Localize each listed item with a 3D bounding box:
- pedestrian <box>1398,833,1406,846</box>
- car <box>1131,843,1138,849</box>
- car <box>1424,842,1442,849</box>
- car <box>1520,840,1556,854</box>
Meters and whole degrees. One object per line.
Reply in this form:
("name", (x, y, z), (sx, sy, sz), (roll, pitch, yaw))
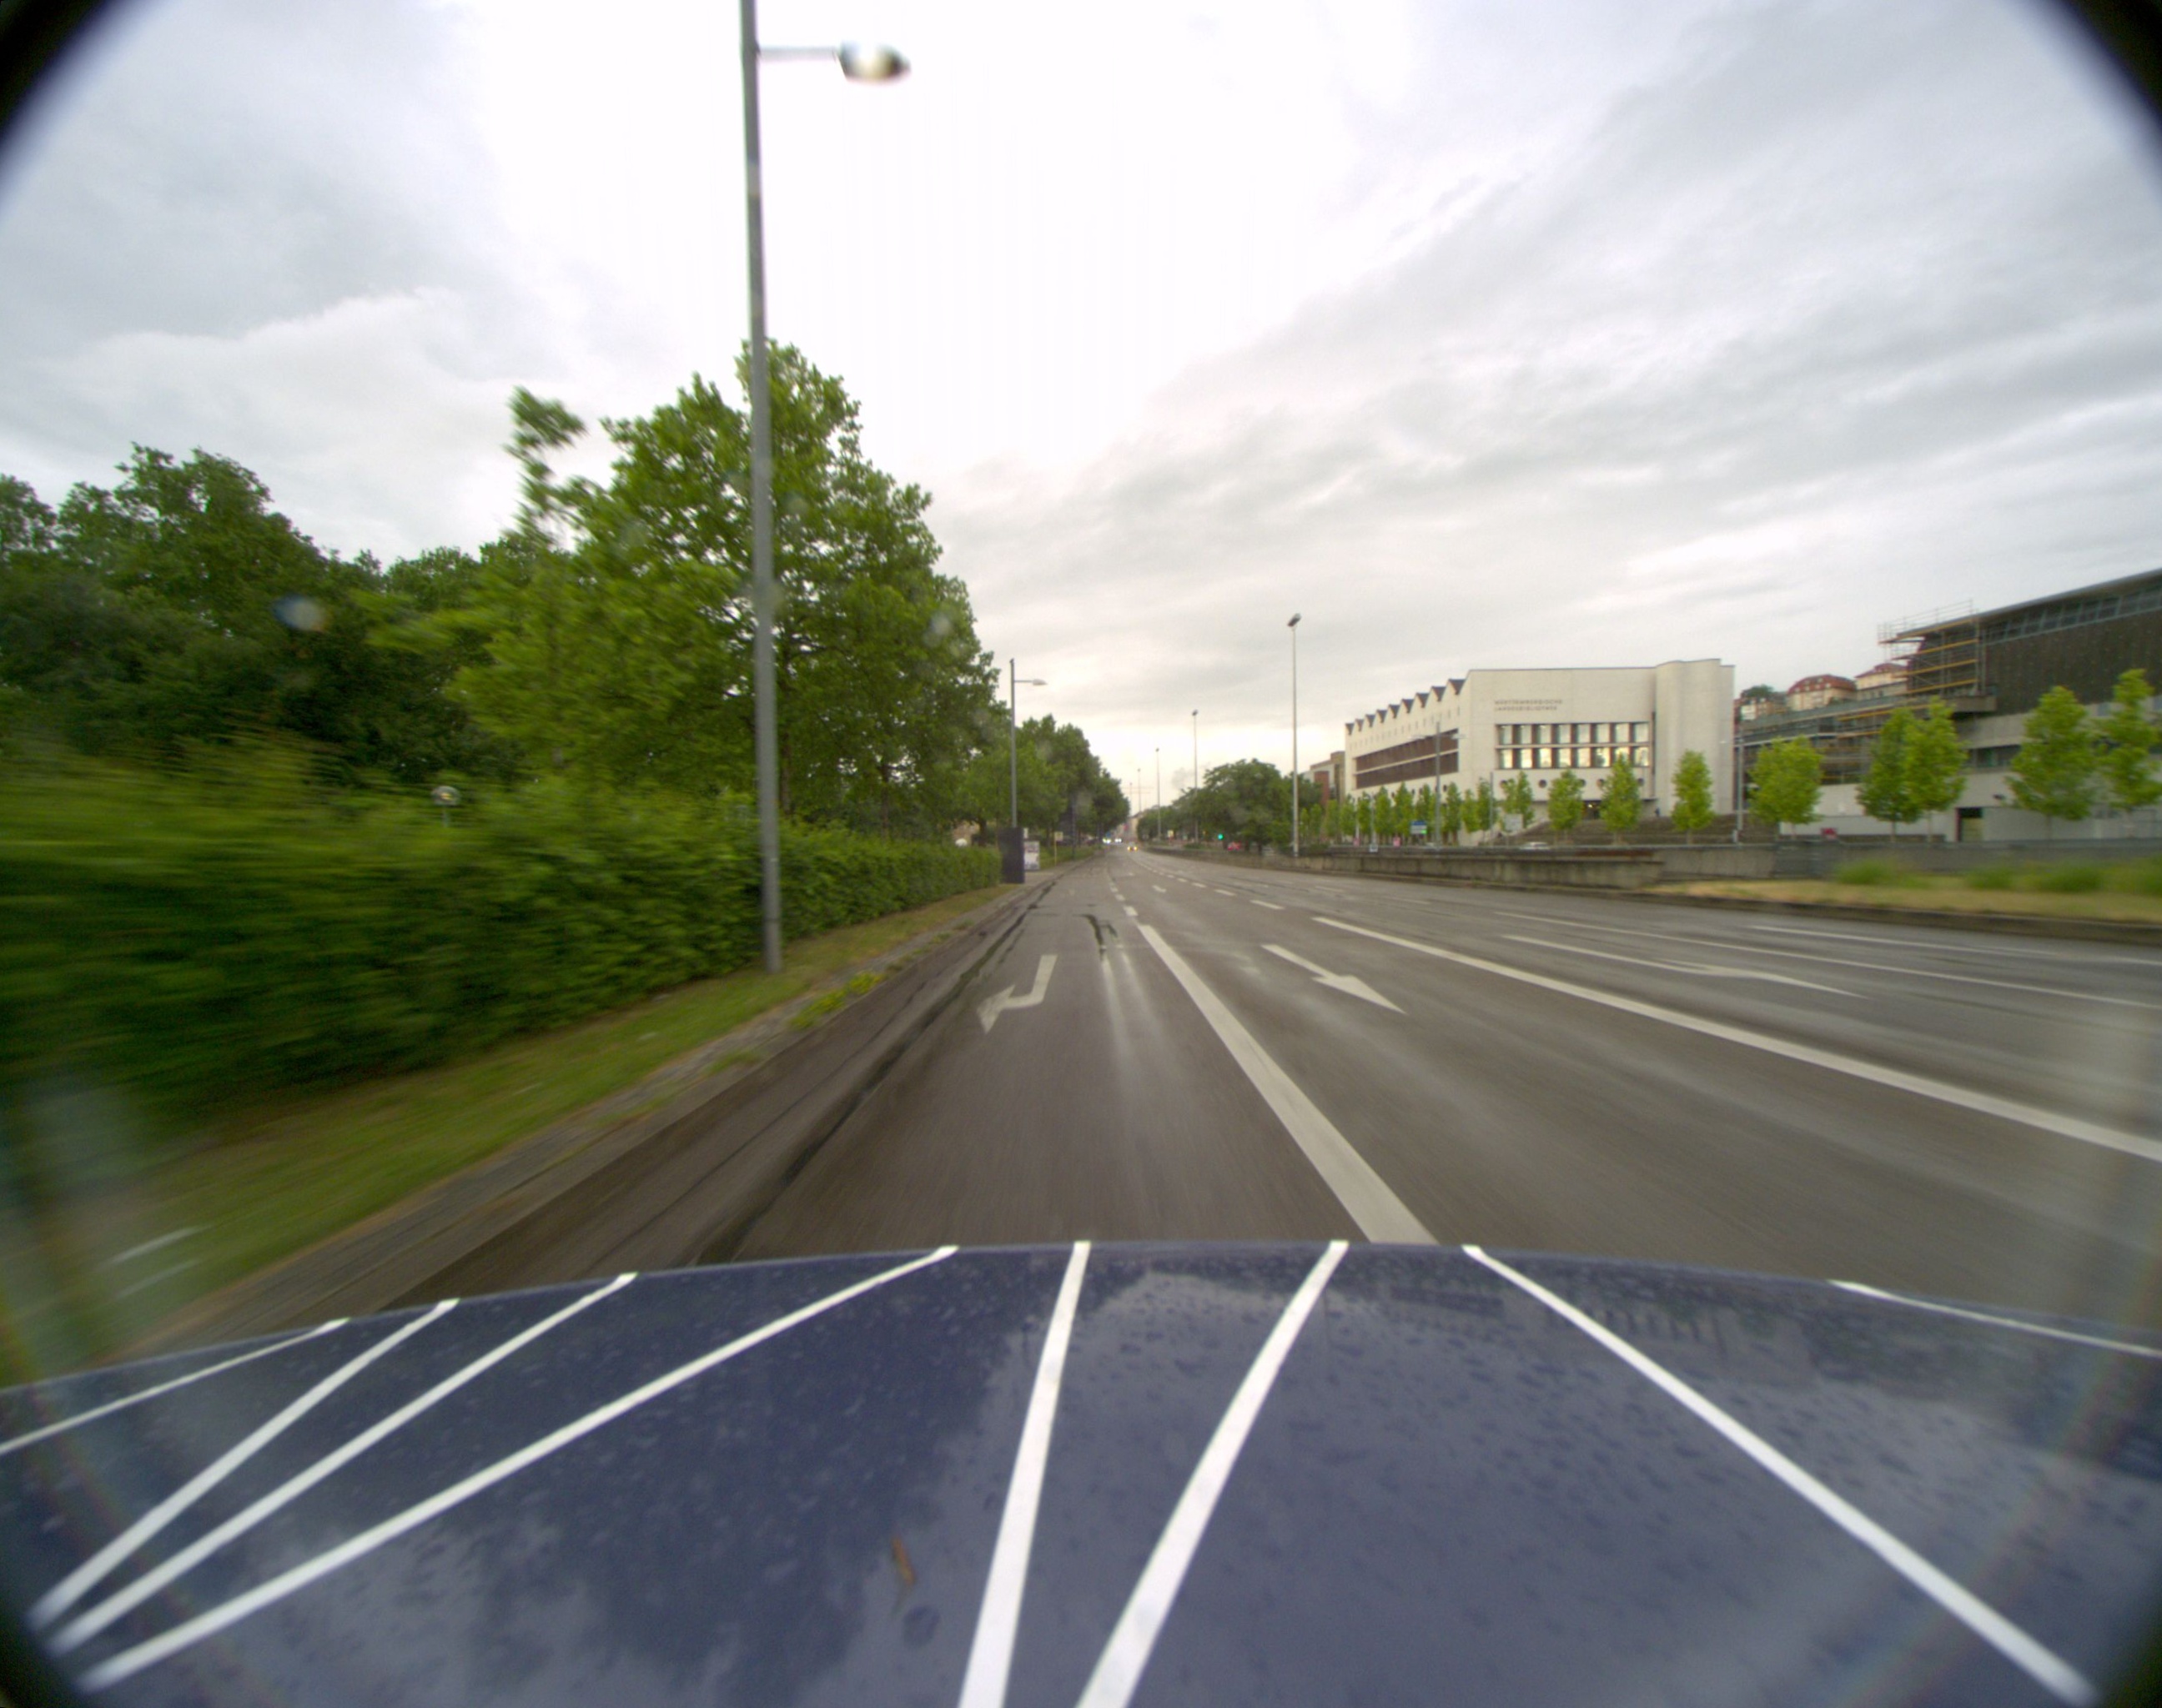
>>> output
("pedestrian", (48.428, -2.167, 114.578), (1.086, 1.856, 0.830), (-2, 3, 20))
("car", (11.833, -1.832, 168.090), (1.517, 1.138, 2.761), (-2, 2, 5))
("car", (39.709, -0.951, 85.747), (0.821, 0.741, 2.552), (-3, 2, -3))
("car", (41.136, -0.628, 68.449), (1.443, 1.108, 3.020), (-2, 2, 1))
